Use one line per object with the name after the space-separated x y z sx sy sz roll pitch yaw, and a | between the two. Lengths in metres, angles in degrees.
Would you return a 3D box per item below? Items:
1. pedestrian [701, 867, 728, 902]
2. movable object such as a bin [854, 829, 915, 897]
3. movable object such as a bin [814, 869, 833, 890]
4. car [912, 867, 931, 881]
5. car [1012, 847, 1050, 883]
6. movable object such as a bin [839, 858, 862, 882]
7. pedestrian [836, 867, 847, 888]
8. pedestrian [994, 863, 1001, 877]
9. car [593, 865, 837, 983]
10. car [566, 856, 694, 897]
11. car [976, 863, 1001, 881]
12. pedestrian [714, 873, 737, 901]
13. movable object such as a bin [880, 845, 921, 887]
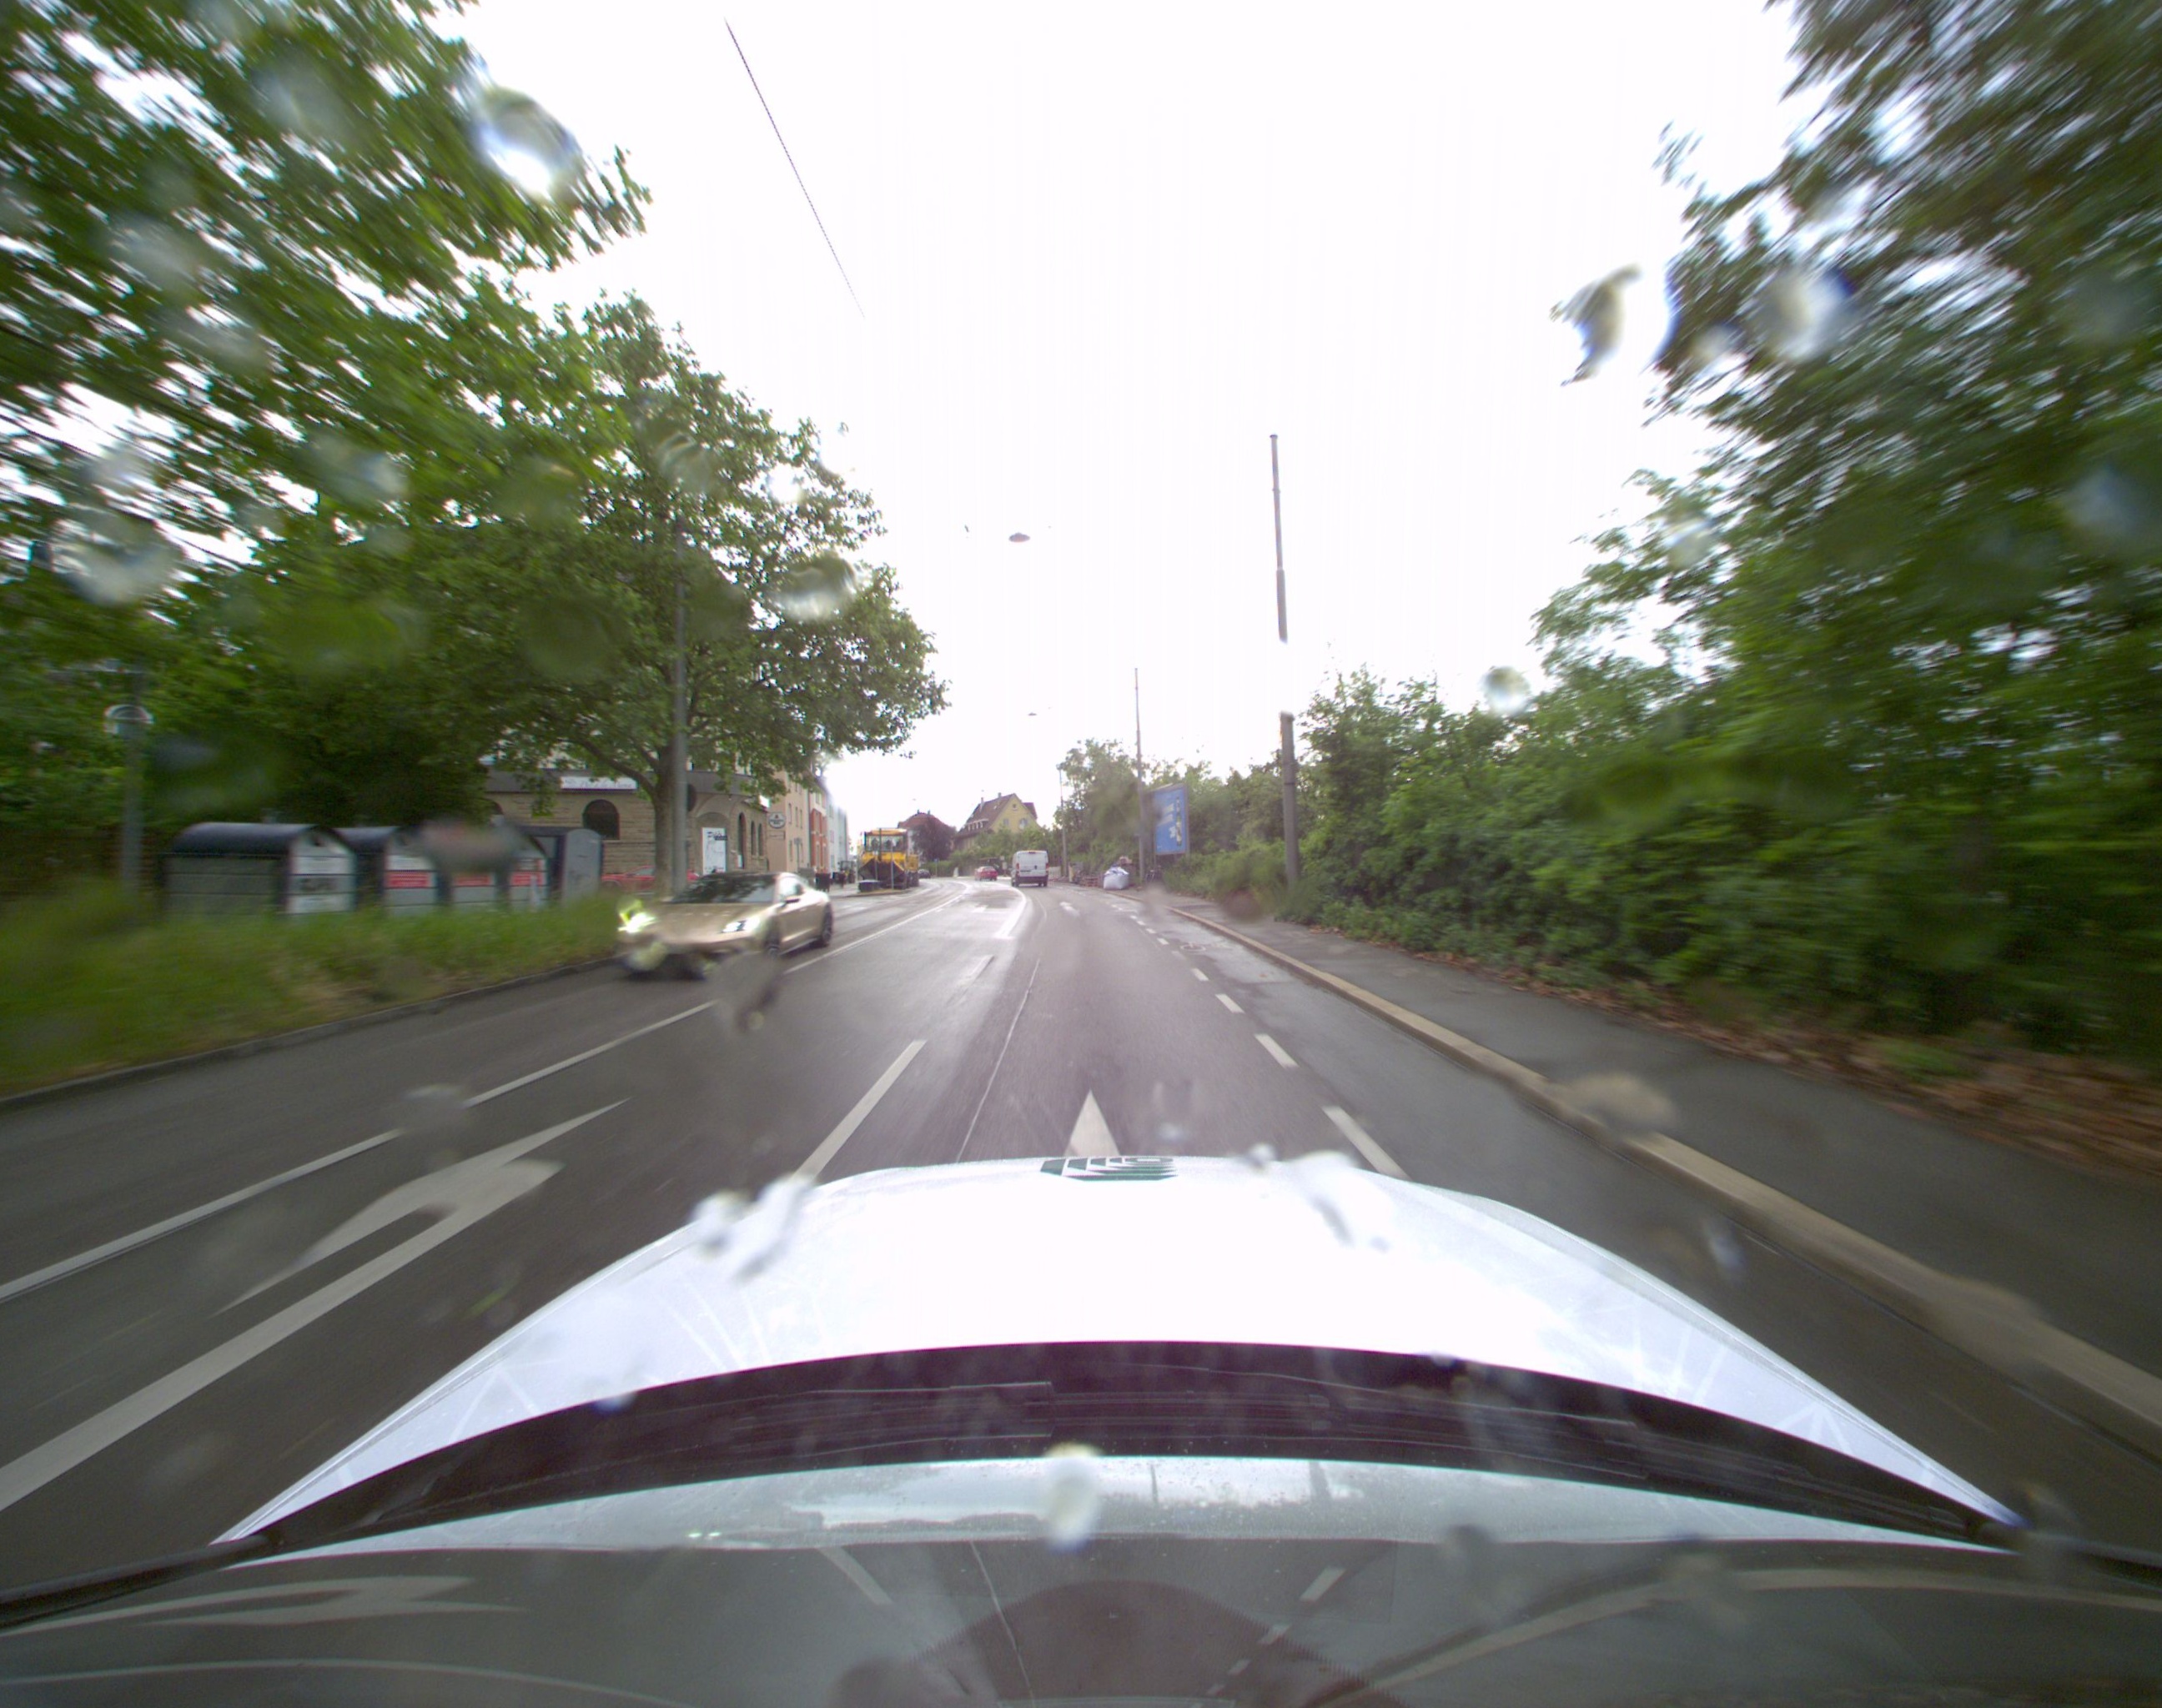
-15.047 1.255 33.474 0.804 1.401 0.780 -1 1 -8 | pedestrian
-11.756 0.450 49.269 2.771 3.855 5.975 -1 1 -6 | movable object such as a bin
-15.938 1.580 50.445 0.896 1.222 1.193 -1 1 -30 | movable object such as a bin
-24.043 2.987 122.574 2.243 1.804 4.685 -1 1 -18 | car
-3.277 0.651 52.831 2.235 2.213 4.703 -1 1 -6 | car
-26.610 1.825 94.176 1.993 2.683 4.614 -1 1 -9 | movable object such as a bin
-18.675 1.798 63.604 0.765 1.588 1.086 -1 1 -14 | pedestrian
-10.878 2.059 105.863 0.905 1.731 0.652 -1 1 -8 | pedestrian
-5.390 0.922 12.824 2.068 1.353 4.704 -1 1 -5 | car
-19.123 0.967 34.771 4.550 1.574 1.922 2 0 -24 | car
-9.373 1.758 82.102 2.238 1.656 4.697 -1 1 -10 | car
-15.030 1.401 34.426 0.742 1.124 0.729 -1 1 -10 | pedestrian
-14.196 0.863 64.349 2.871 3.173 4.112 -1 1 -10 | movable object such as a bin
